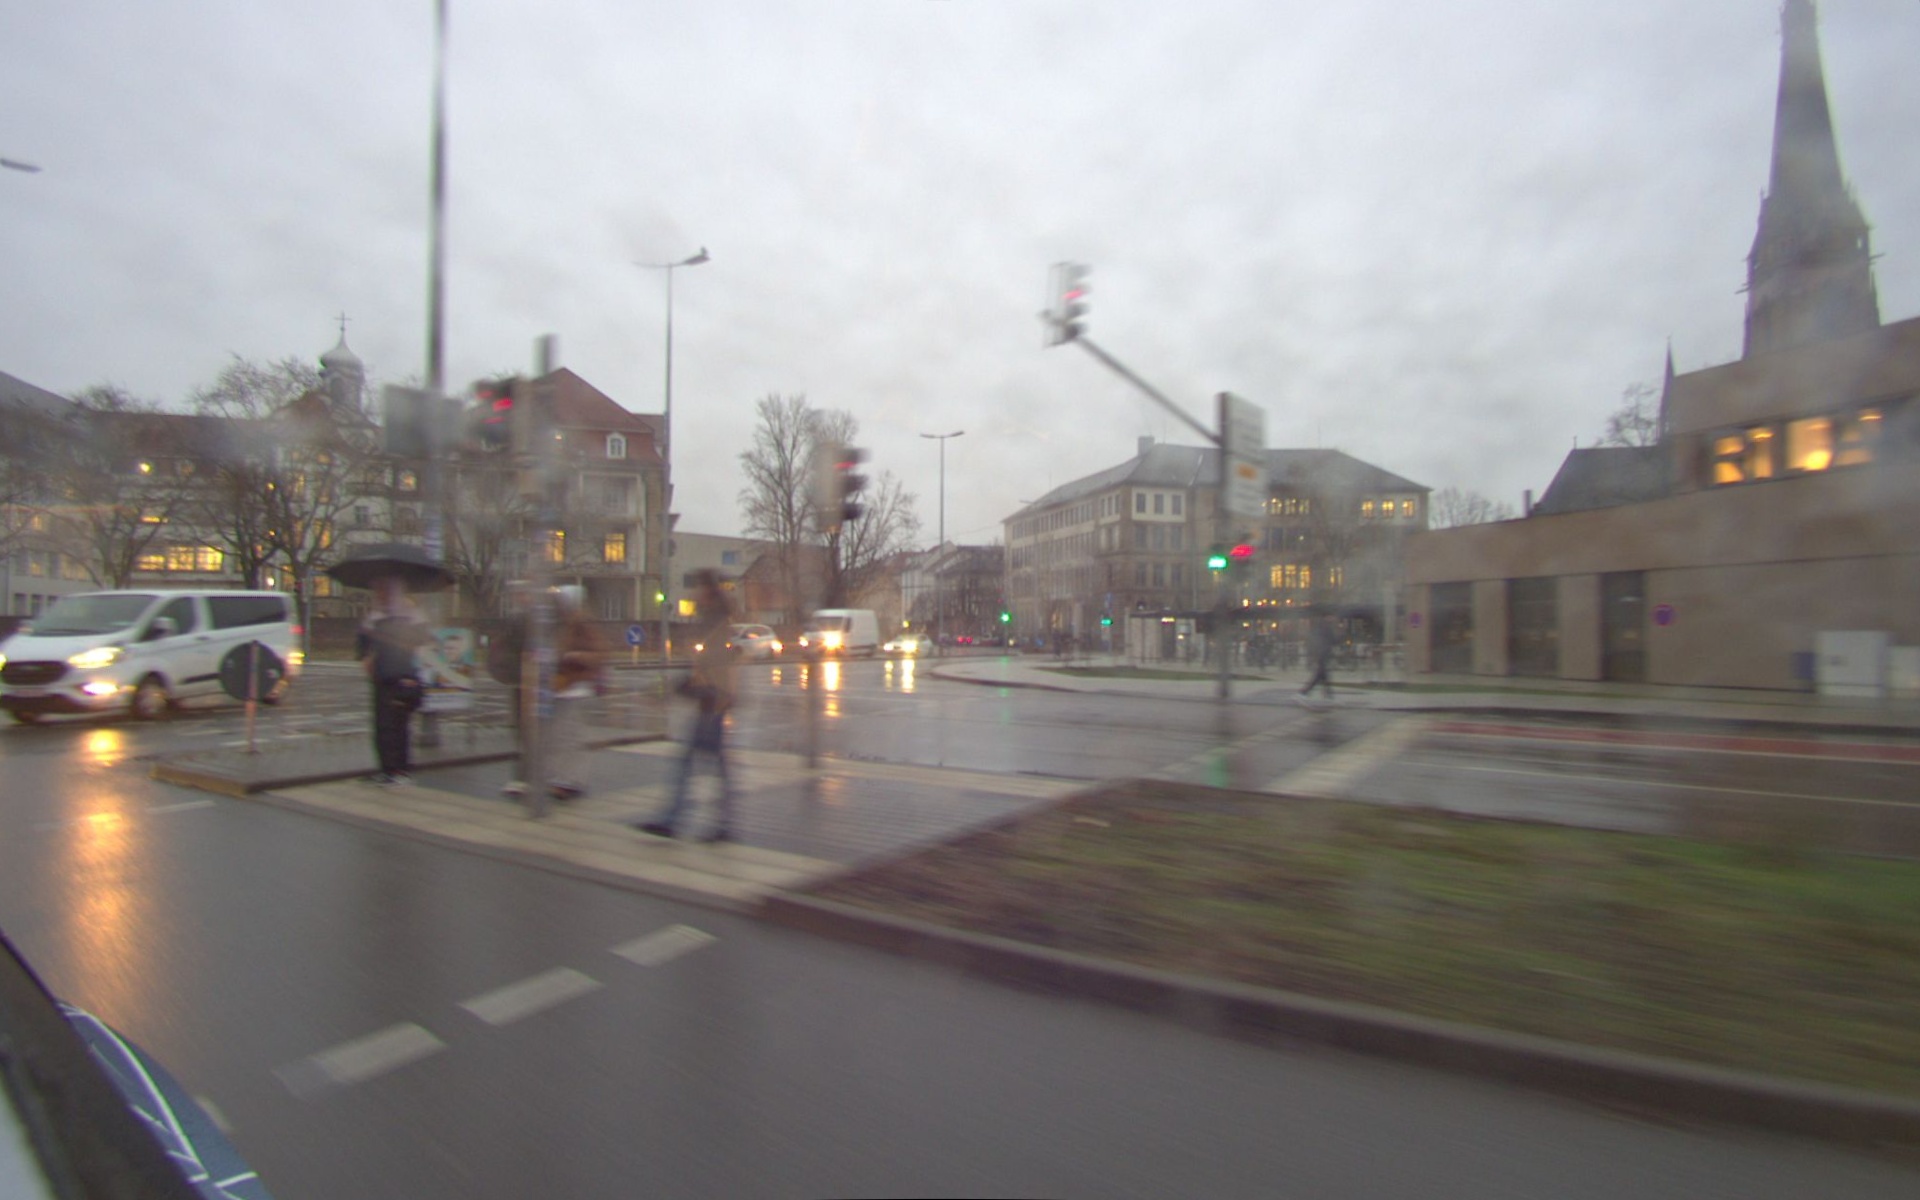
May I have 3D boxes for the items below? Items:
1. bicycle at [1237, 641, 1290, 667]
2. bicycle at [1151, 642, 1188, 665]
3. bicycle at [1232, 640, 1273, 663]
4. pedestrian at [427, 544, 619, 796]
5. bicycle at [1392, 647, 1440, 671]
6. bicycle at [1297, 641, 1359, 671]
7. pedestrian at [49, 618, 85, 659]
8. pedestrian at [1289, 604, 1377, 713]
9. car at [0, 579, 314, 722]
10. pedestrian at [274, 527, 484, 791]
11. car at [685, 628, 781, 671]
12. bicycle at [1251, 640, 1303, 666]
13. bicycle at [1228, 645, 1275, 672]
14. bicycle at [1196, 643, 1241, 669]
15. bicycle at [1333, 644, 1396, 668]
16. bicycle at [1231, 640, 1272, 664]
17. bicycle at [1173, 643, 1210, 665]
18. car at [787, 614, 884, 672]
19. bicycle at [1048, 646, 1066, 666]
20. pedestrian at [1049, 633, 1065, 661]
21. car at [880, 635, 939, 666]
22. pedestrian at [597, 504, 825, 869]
[{"bbox_3d":[13.858,2.479,46.278,0.636,1.113,2.759,-1,-4,-23],"label":"bicycle"},{"bbox_3d":[10.693,2.761,51.728,0.636,1.113,2.758,-1,-3,-14],"label":"bicycle"},{"bbox_3d":[15.358,2.712,53.253,0.636,1.113,2.759,-1,-3,-17],"label":"bicycle"},{"bbox_3d":[-3.499,0.557,8.191,1.057,1.872,1.033,-2,-3,5],"label":"pedestrian"},{"bbox_3d":[17.964,2.313,39.892,0.596,0.878,1.870,2,-3,-18],"label":"bicycle"},{"bbox_3d":[14.574,2.203,40.179,0.597,1.113,2.759,-1,-2,-21],"label":"bicycle"},{"bbox_3d":[-40.450,1.735,45.854,0.940,1.844,0.804,0,-3,17],"label":"pedestrian"},{"bbox_3d":[6.734,1.058,18.357,1.020,1.872,1.235,-2,-3,-1],"label":"pedestrian"},{"bbox_3d":[-13.118,0.855,16.459,2.108,1.936,5.017,-2,-3,-1],"label":"car"},{"bbox_3d":[-4.924,0.502,8.667,1.024,2.065,1.211,-3,-3,10],"label":"pedestrian"},{"bbox_3d":[-8.747,1.921,39.360,1.740,1.515,4.293,-3,-3,17],"label":"car"},{"bbox_3d":[14.565,2.433,46.578,0.636,1.113,2.759,-1,-2,-23],"label":"bicycle"},{"bbox_3d":[12.881,2.609,44.783,0.636,1.113,2.758,-1,-3,-14],"label":"bicycle"},{"bbox_3d":[11.462,2.504,45.022,0.636,1.113,2.758,-1,-3,-14],"label":"bicycle"},{"bbox_3d":[18.552,2.536,46.512,0.781,1.058,3.204,1,-3,-18],"label":"bicycle"},{"bbox_3d":[14.715,2.647,51.187,0.636,1.113,2.758,-1,-3,-14],"label":"bicycle"},{"bbox_3d":[11.854,2.782,51.919,0.636,1.113,2.758,-1,-3,-14],"label":"bicycle"},{"bbox_3d":[-5.867,2.070,48.702,2.329,2.537,5.832,-3,-3,18],"label":"car"},{"bbox_3d":[6.042,3.473,63.108,0.620,1.185,1.859,1,-2,22],"label":"bicycle"},{"bbox_3d":[6.027,2.917,63.083,0.713,1.747,0.974,1,-3,23],"label":"pedestrian"},{"bbox_3d":[-2.853,2.882,58.219,1.823,1.656,4.788,0,-2,17],"label":"car"},{"bbox_3d":[-1.553,0.514,6.294,1.108,2.021,0.837,-5,-4,37],"label":"pedestrian"}]
